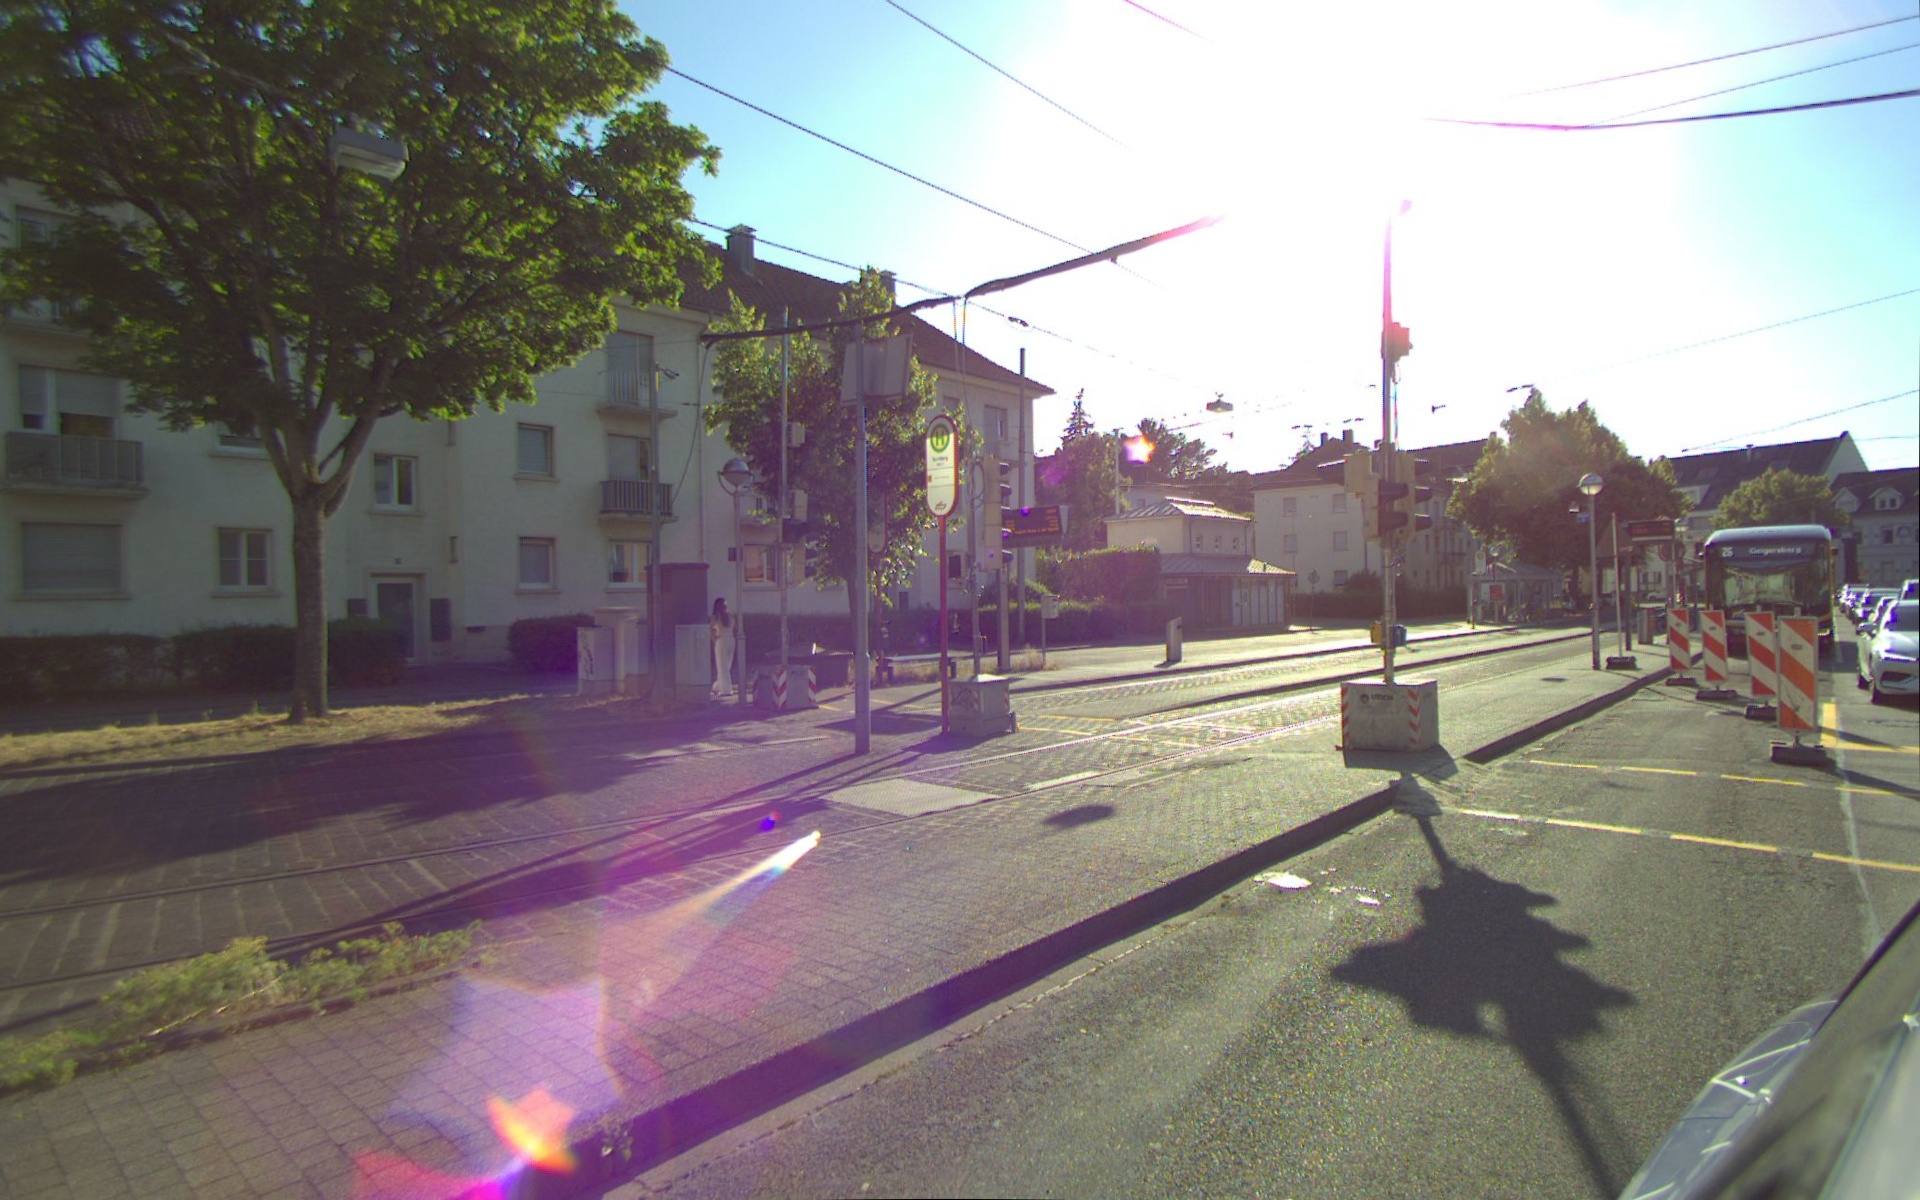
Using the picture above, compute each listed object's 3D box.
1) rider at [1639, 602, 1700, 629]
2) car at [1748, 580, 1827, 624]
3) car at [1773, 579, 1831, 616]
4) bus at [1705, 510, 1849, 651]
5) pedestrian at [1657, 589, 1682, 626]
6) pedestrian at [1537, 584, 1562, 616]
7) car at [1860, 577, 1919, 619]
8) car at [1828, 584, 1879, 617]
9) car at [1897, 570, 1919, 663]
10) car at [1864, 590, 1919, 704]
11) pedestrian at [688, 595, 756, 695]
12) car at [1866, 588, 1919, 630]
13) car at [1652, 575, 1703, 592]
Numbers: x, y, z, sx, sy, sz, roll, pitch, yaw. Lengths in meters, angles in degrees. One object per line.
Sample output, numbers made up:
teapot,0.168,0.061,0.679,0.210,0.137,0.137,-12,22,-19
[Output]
rider,27.345,0.577,39.021,0.570,1.004,1.856,-1,1,-37
car,30.073,0.034,36.723,1.963,1.477,4.751,0,1,42
car,40.949,-0.143,49.175,1.963,1.726,4.751,0,0,42
bus,23.982,-0.528,29.401,2.739,3.345,11.852,0,0,41
pedestrian,27.342,0.267,39.009,0.570,1.398,0.658,-1,0,-38
pedestrian,30.069,-0.015,51.629,0.811,1.631,0.841,0,0,8
car,40.265,-0.111,43.776,1.963,1.726,4.751,0,0,42
car,48.329,0.009,54.716,1.963,1.726,4.751,0,0,42
car,21.235,0.300,21.438,1.963,1.850,4.956,0,0,42
car,14.137,0.591,14.293,1.813,1.472,4.158,0,0,39
pedestrian,-4.054,0.733,17.254,0.784,1.640,0.818,0,0,30
car,35.081,0.290,37.700,1.963,1.477,4.751,0,1,42
car,83.580,-1.935,117.915,1.708,1.879,4.597,-1,1,-32
